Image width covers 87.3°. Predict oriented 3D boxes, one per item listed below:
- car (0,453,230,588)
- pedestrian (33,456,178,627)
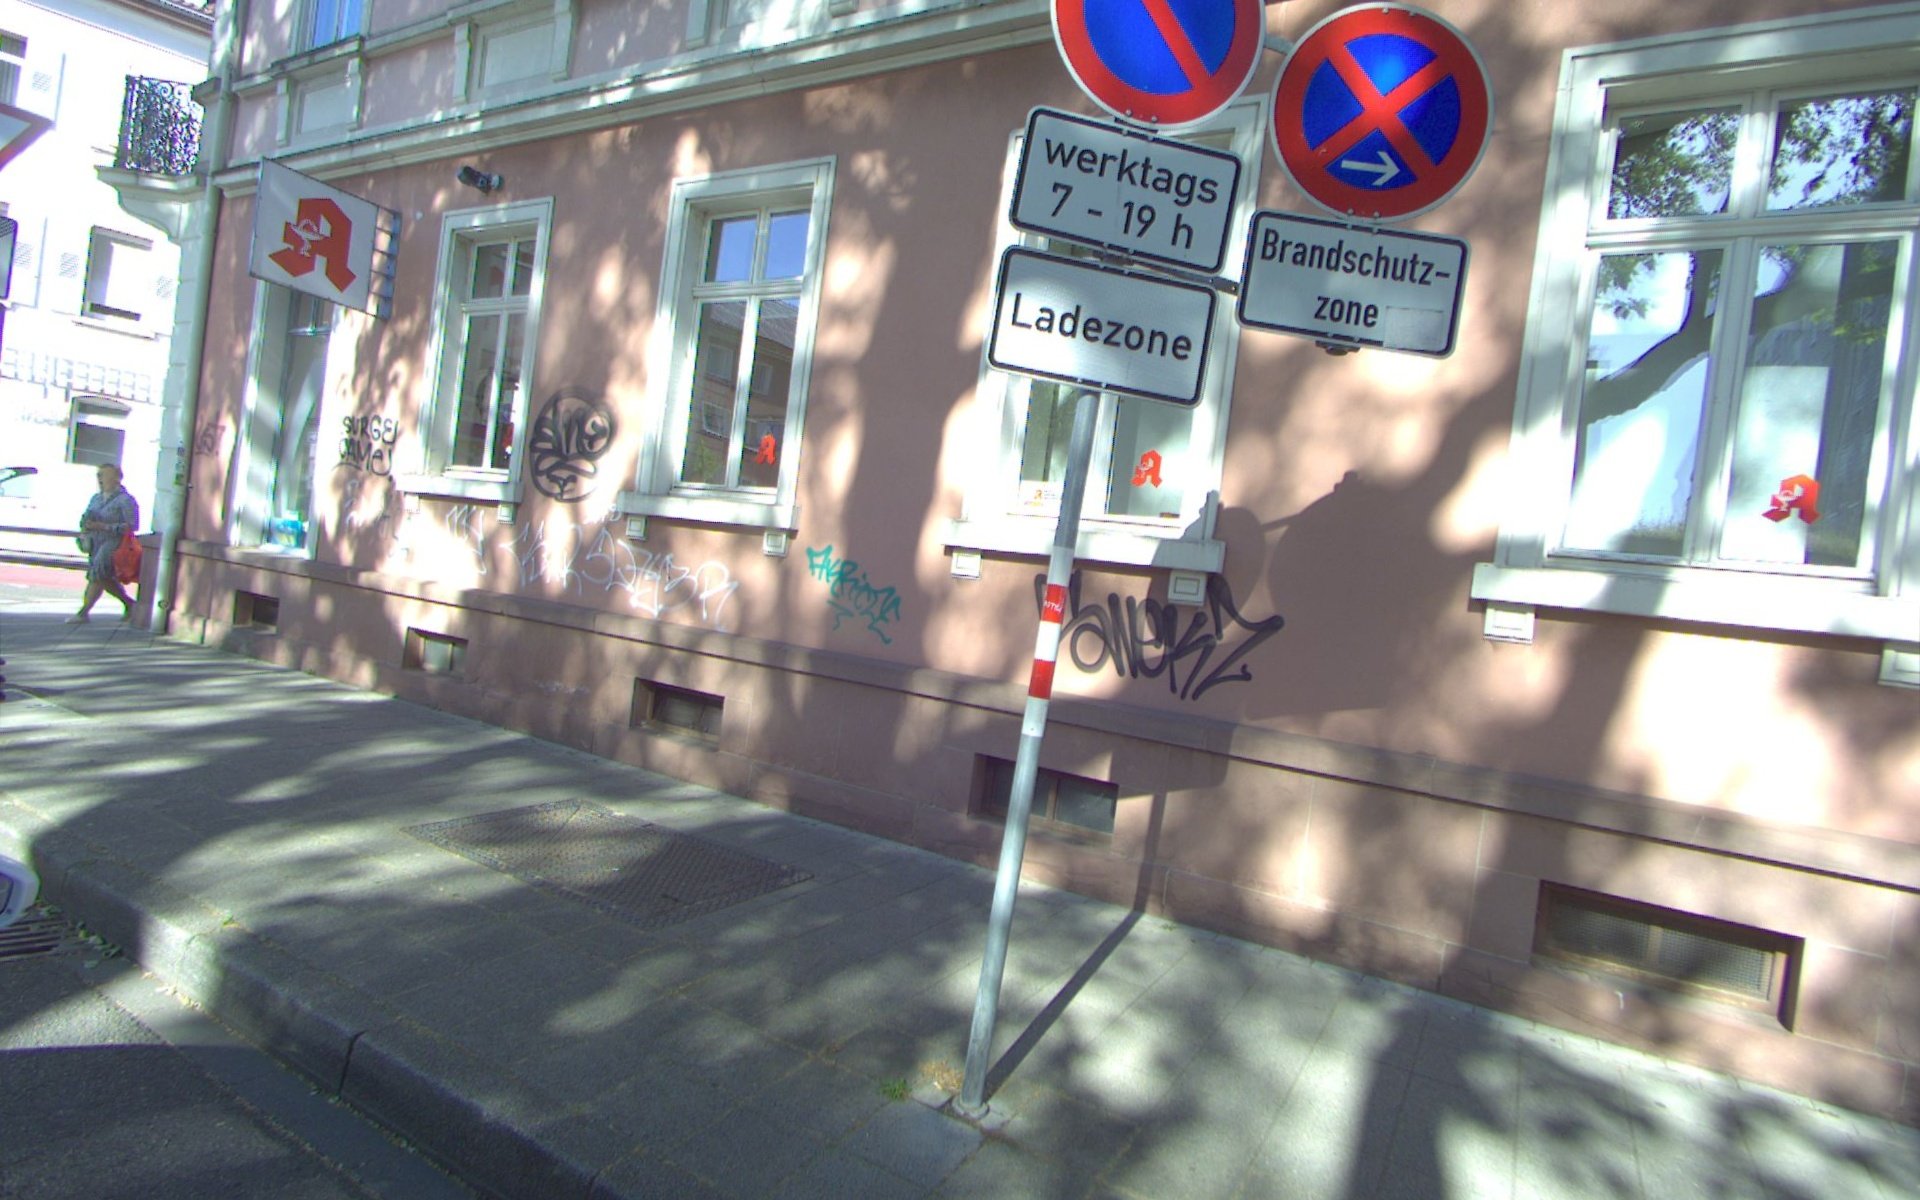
[{"bbox_3d":[-16.916,-1.569,18.910,4.983,1.969,2.030,8,-1,-37],"label":"car"},{"bbox_3d":[-8.499,-0.579,10.025,0.831,1.596,0.844,5,4,27],"label":"pedestrian"}]
